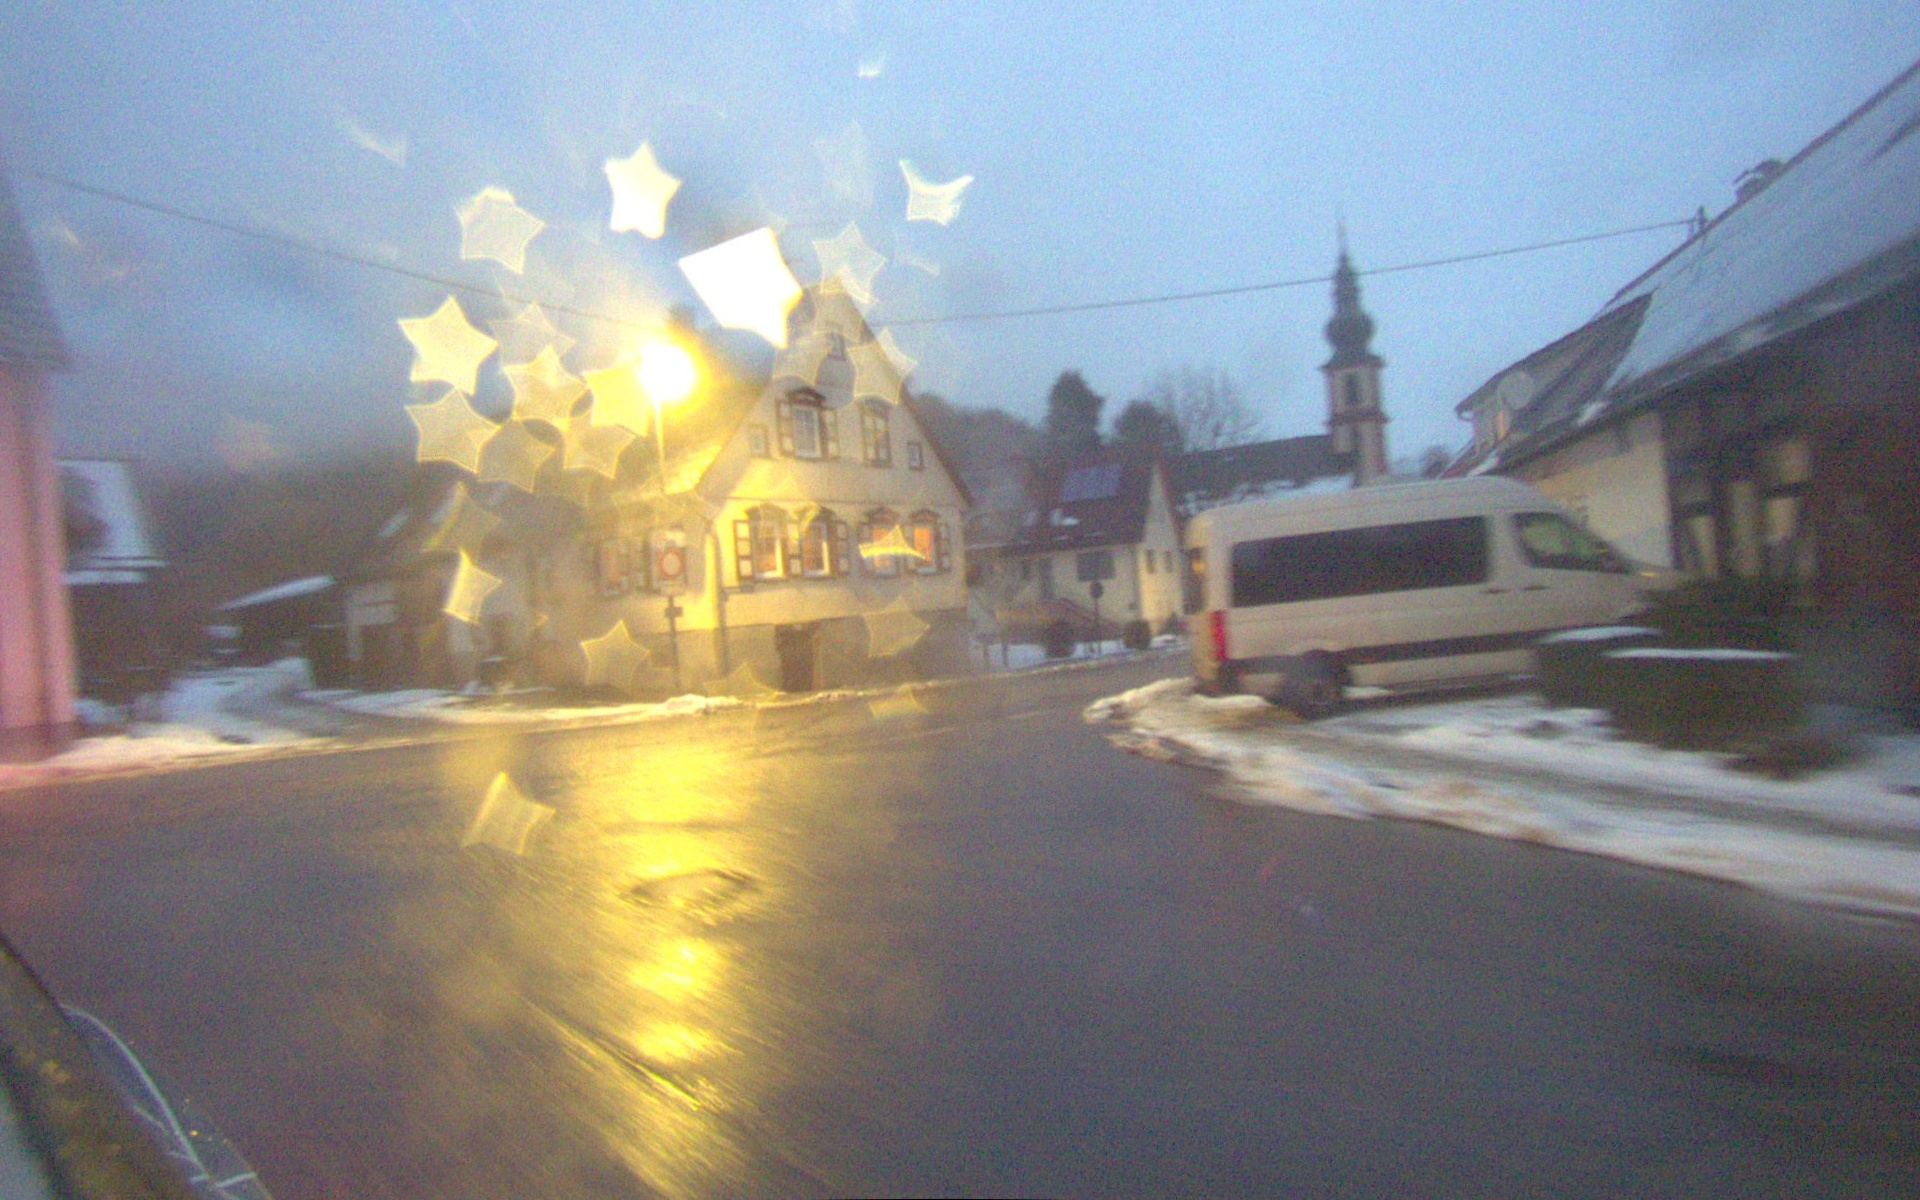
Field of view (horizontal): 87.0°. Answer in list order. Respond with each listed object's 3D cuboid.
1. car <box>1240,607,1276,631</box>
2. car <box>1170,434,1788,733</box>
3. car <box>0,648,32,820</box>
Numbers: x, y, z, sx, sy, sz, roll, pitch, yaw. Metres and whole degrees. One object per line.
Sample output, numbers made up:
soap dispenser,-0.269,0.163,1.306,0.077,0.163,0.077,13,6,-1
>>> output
car,21.014,1.320,71.378,1.735,1.423,4.072,-4,2,8
car,5.842,-0.131,12.205,6.043,2.572,1.996,-7,-1,7
car,-9.772,1.056,6.770,1.991,1.392,4.885,-3,-3,29
